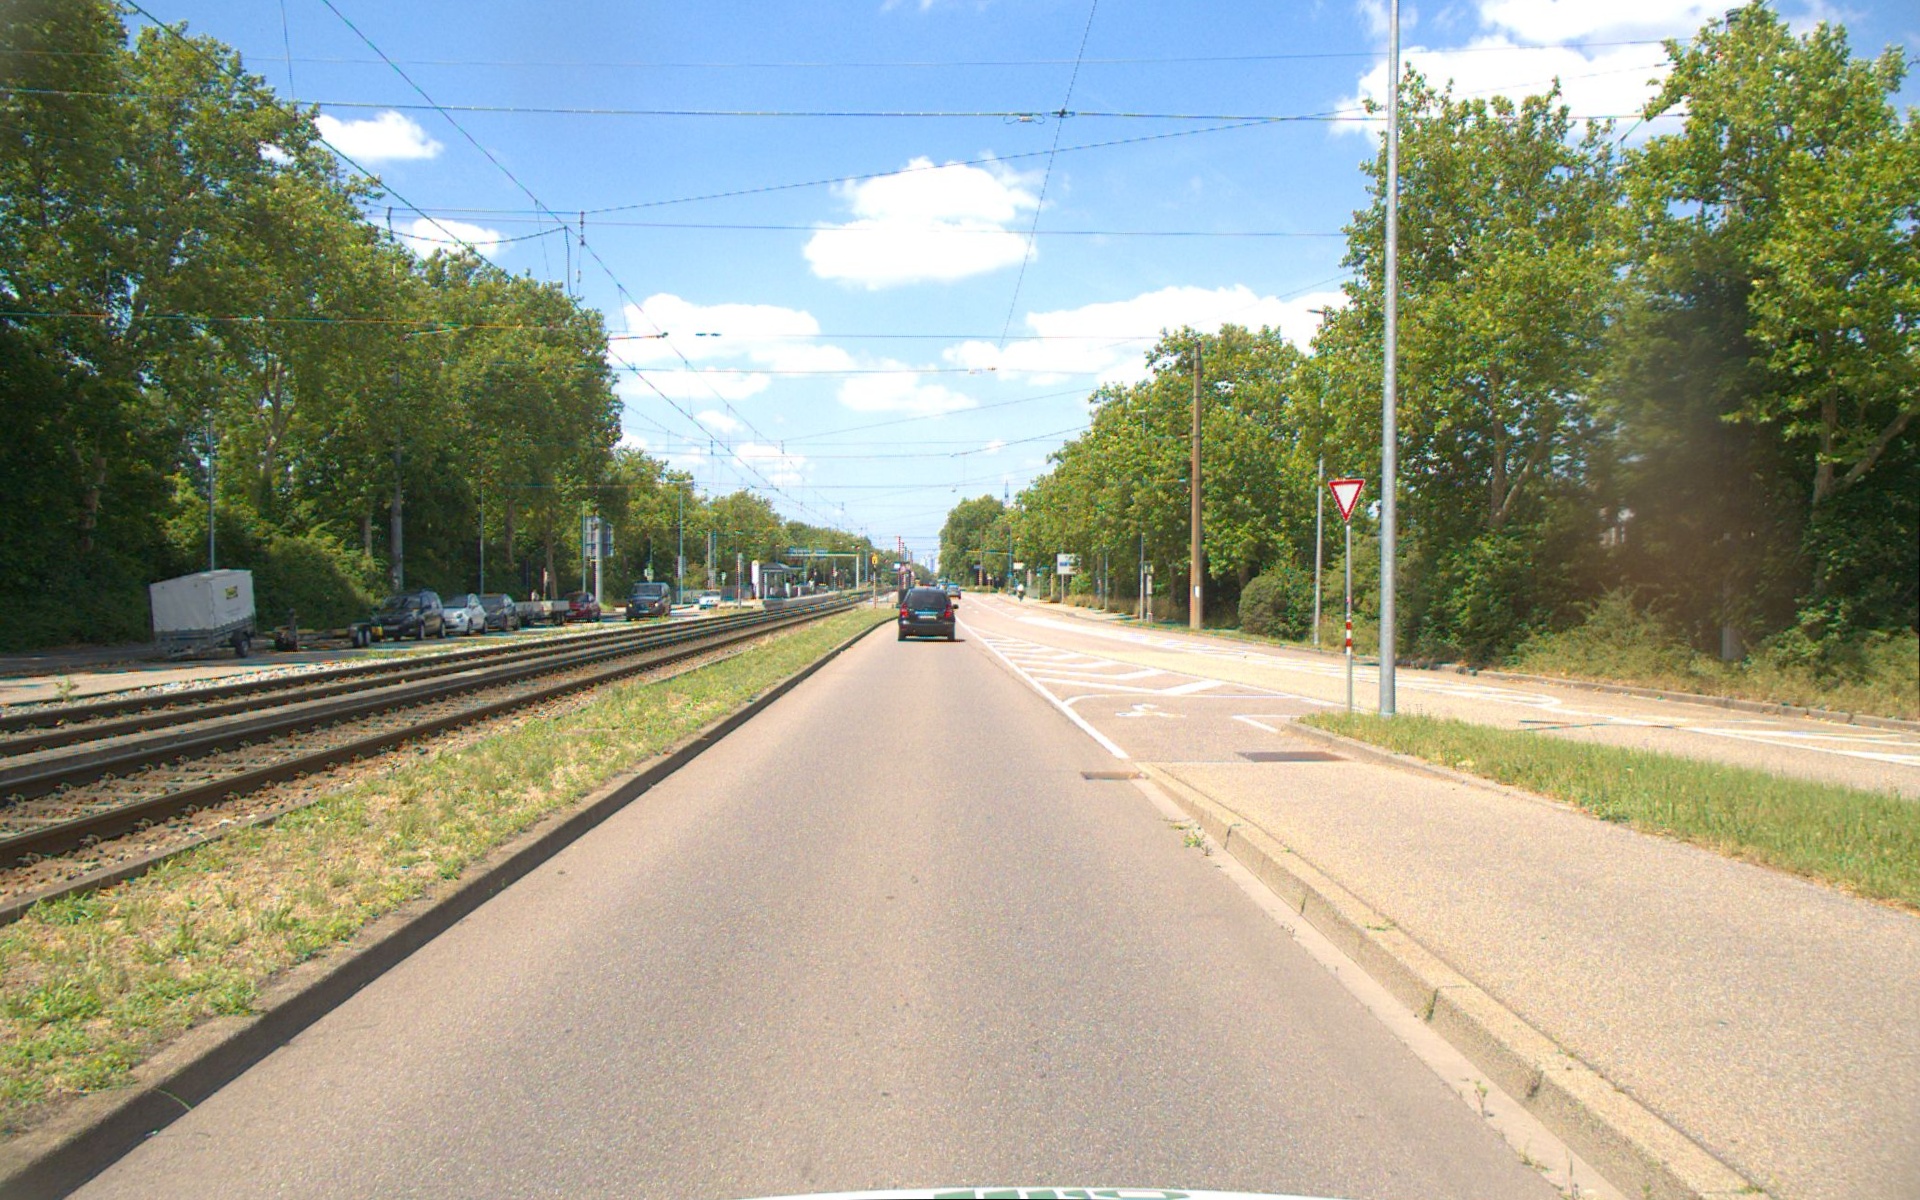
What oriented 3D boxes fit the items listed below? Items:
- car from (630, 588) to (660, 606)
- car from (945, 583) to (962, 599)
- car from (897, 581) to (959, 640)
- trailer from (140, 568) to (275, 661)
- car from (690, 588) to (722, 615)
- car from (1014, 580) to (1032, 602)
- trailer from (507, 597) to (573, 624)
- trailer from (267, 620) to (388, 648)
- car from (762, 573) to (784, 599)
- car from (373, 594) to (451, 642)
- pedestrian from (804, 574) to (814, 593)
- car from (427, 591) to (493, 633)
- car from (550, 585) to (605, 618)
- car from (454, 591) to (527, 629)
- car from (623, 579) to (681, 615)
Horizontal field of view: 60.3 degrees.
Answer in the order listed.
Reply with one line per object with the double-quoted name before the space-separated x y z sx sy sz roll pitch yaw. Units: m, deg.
"car" -28.079 -0.266 147.386 1.953 1.601 3.999 0 0 -1
"car" -0.755 -1.026 189.259 1.846 1.668 4.000 4 1 0
"car" -0.952 0.296 51.190 1.815 1.597 4.389 1 2 0
"trailer" -17.683 0.289 39.054 1.578 2.048 3.913 1 1 -4
"car" -19.399 0.091 126.410 1.953 2.049 3.999 0 0 -2
"car" 6.271 -0.896 164.469 1.580 2.048 3.439 1 2 -2
"trailer" -18.968 0.443 74.888 1.855 1.062 5.101 1 1 -3
"trailer" -17.685 0.934 46.454 1.953 0.755 3.999 0 0 -2
"car" -15.747 -1.176 139.220 1.554 2.048 4.108 1 2 -3
"car" -17.869 0.551 54.041 1.405 1.476 3.919 1 0 -3
"pedestrian" -16.301 -1.751 178.827 0.933 2.048 0.892 1 1 -2
"car" -18.129 0.419 60.109 1.405 1.476 3.739 1 0 -3
"car" -19.359 0.056 83.946 1.953 1.601 3.999 0 0 -2
"car" -18.525 0.370 65.409 1.833 1.425 4.416 1 0 -3
"car" -15.820 -0.174 85.224 2.074 1.821 5.403 1 0 -2
